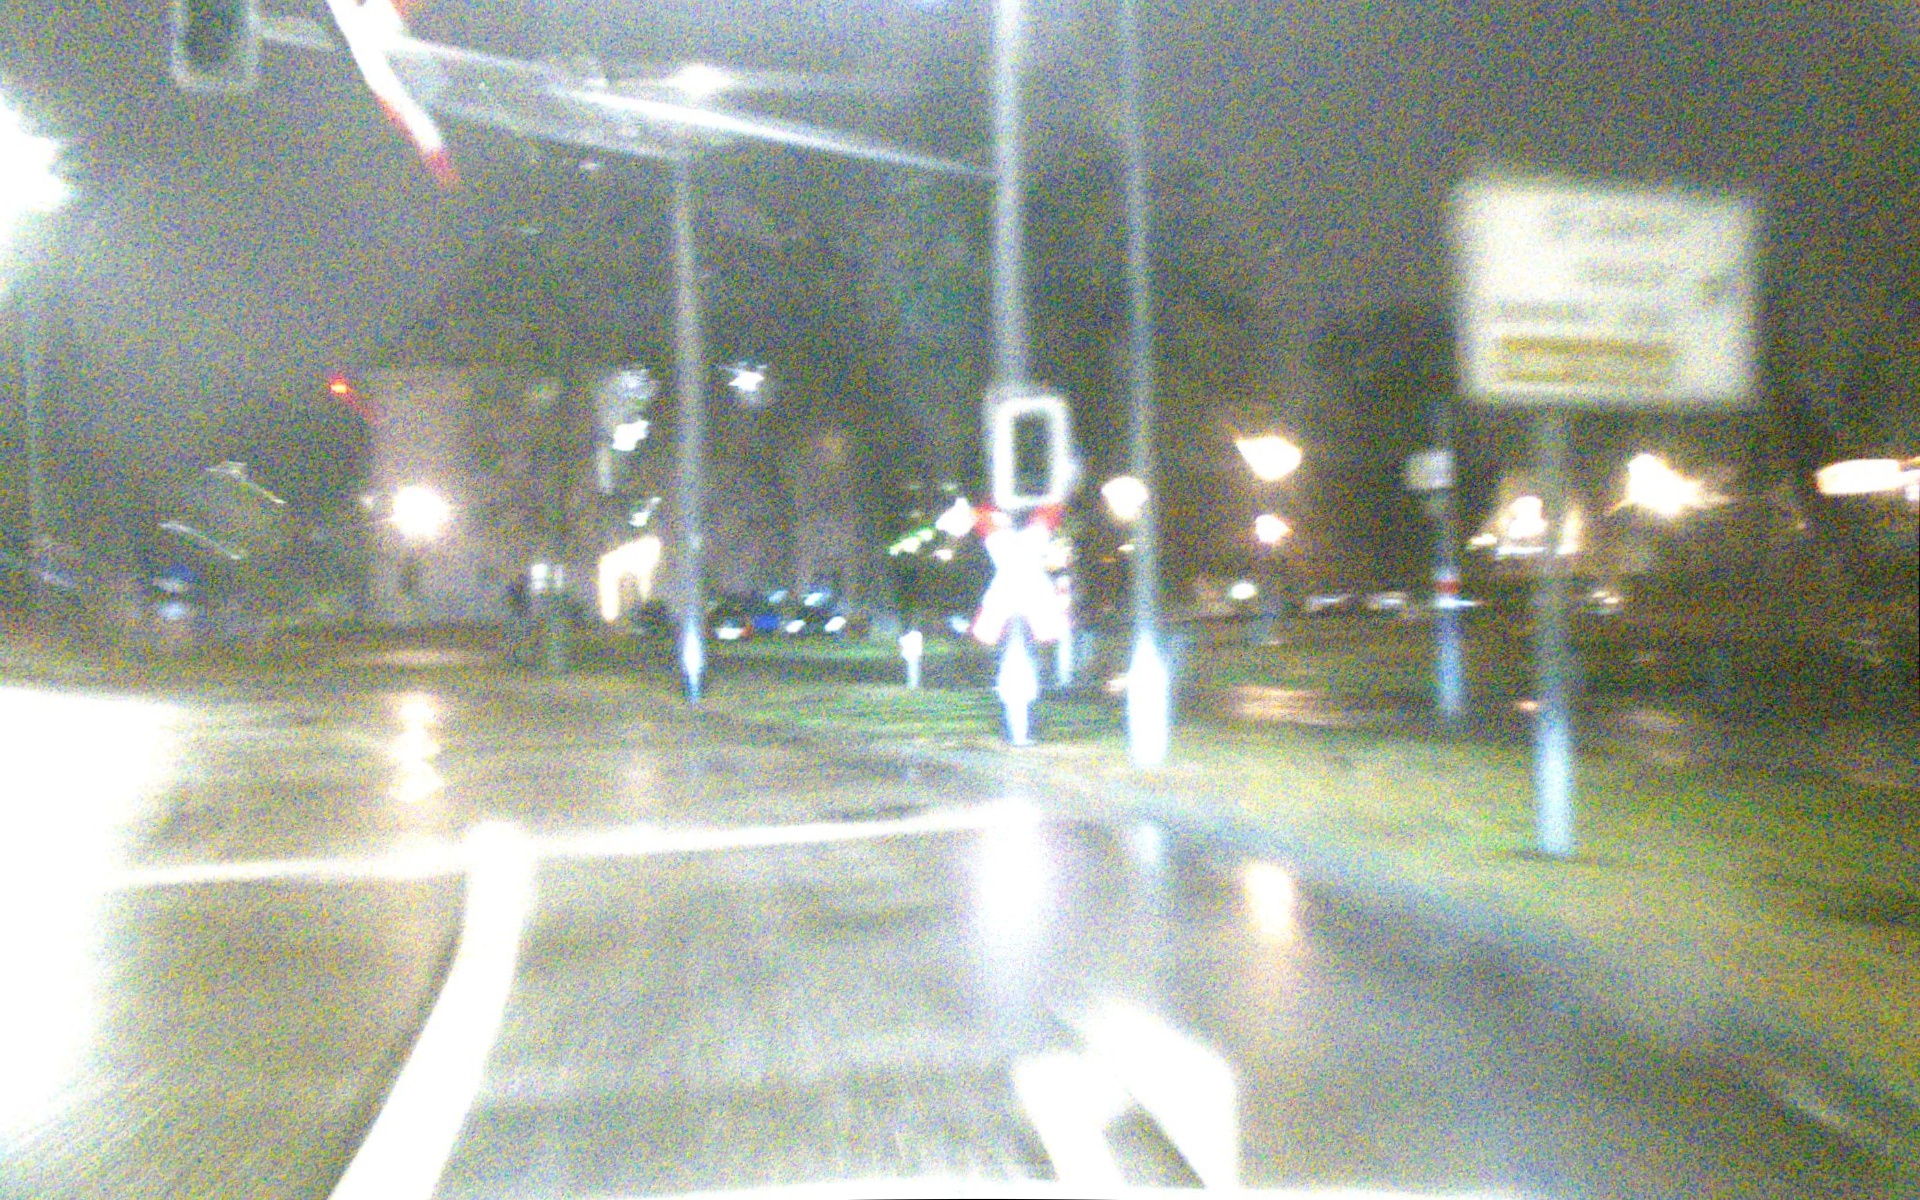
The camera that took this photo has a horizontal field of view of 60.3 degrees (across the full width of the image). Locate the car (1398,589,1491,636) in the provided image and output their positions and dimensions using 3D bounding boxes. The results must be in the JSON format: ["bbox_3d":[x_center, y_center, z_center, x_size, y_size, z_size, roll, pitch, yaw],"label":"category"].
[{"bbox_3d":[16.521,0.423,56.563,1.683,1.563,3.906,0,0,-7],"label":"car"}]

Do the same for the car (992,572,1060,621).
[{"bbox_3d":[2.149,-0.107,54.660,1.683,1.563,3.906,0,0,-7],"label":"car"}]

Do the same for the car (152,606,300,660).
[{"bbox_3d":[-23.599,1.048,53.282,3.904,1.713,1.919,0,0,2],"label":"car"}]

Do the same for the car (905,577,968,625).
[{"bbox_3d":[-0.805,0.038,54.345,1.683,1.523,3.906,0,0,-7],"label":"car"}]

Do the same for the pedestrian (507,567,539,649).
[{"bbox_3d":[-10.436,0.199,39.472,0.643,1.935,0.724,0,-1,-24],"label":"pedestrian"}]

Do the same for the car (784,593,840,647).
[{"bbox_3d":[-4.833,0.677,53.558,1.683,1.523,3.905,-1,-3,-7],"label":"car"}]

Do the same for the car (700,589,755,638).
[{"bbox_3d":[-7.524,0.443,53.745,1.683,1.523,3.906,0,0,-7],"label":"car"}]

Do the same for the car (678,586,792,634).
[{"bbox_3d":[-8.076,0.358,59.736,3.975,1.711,1.790,0,0,-5],"label":"car"}]

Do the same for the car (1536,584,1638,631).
[{"bbox_3d":[21.500,0.248,56.843,1.683,1.563,3.906,0,0,-7],"label":"car"}]

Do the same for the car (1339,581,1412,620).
[{"bbox_3d":[17.055,0.020,68.051,1.683,1.563,3.906,0,0,-7],"label":"car"}]
